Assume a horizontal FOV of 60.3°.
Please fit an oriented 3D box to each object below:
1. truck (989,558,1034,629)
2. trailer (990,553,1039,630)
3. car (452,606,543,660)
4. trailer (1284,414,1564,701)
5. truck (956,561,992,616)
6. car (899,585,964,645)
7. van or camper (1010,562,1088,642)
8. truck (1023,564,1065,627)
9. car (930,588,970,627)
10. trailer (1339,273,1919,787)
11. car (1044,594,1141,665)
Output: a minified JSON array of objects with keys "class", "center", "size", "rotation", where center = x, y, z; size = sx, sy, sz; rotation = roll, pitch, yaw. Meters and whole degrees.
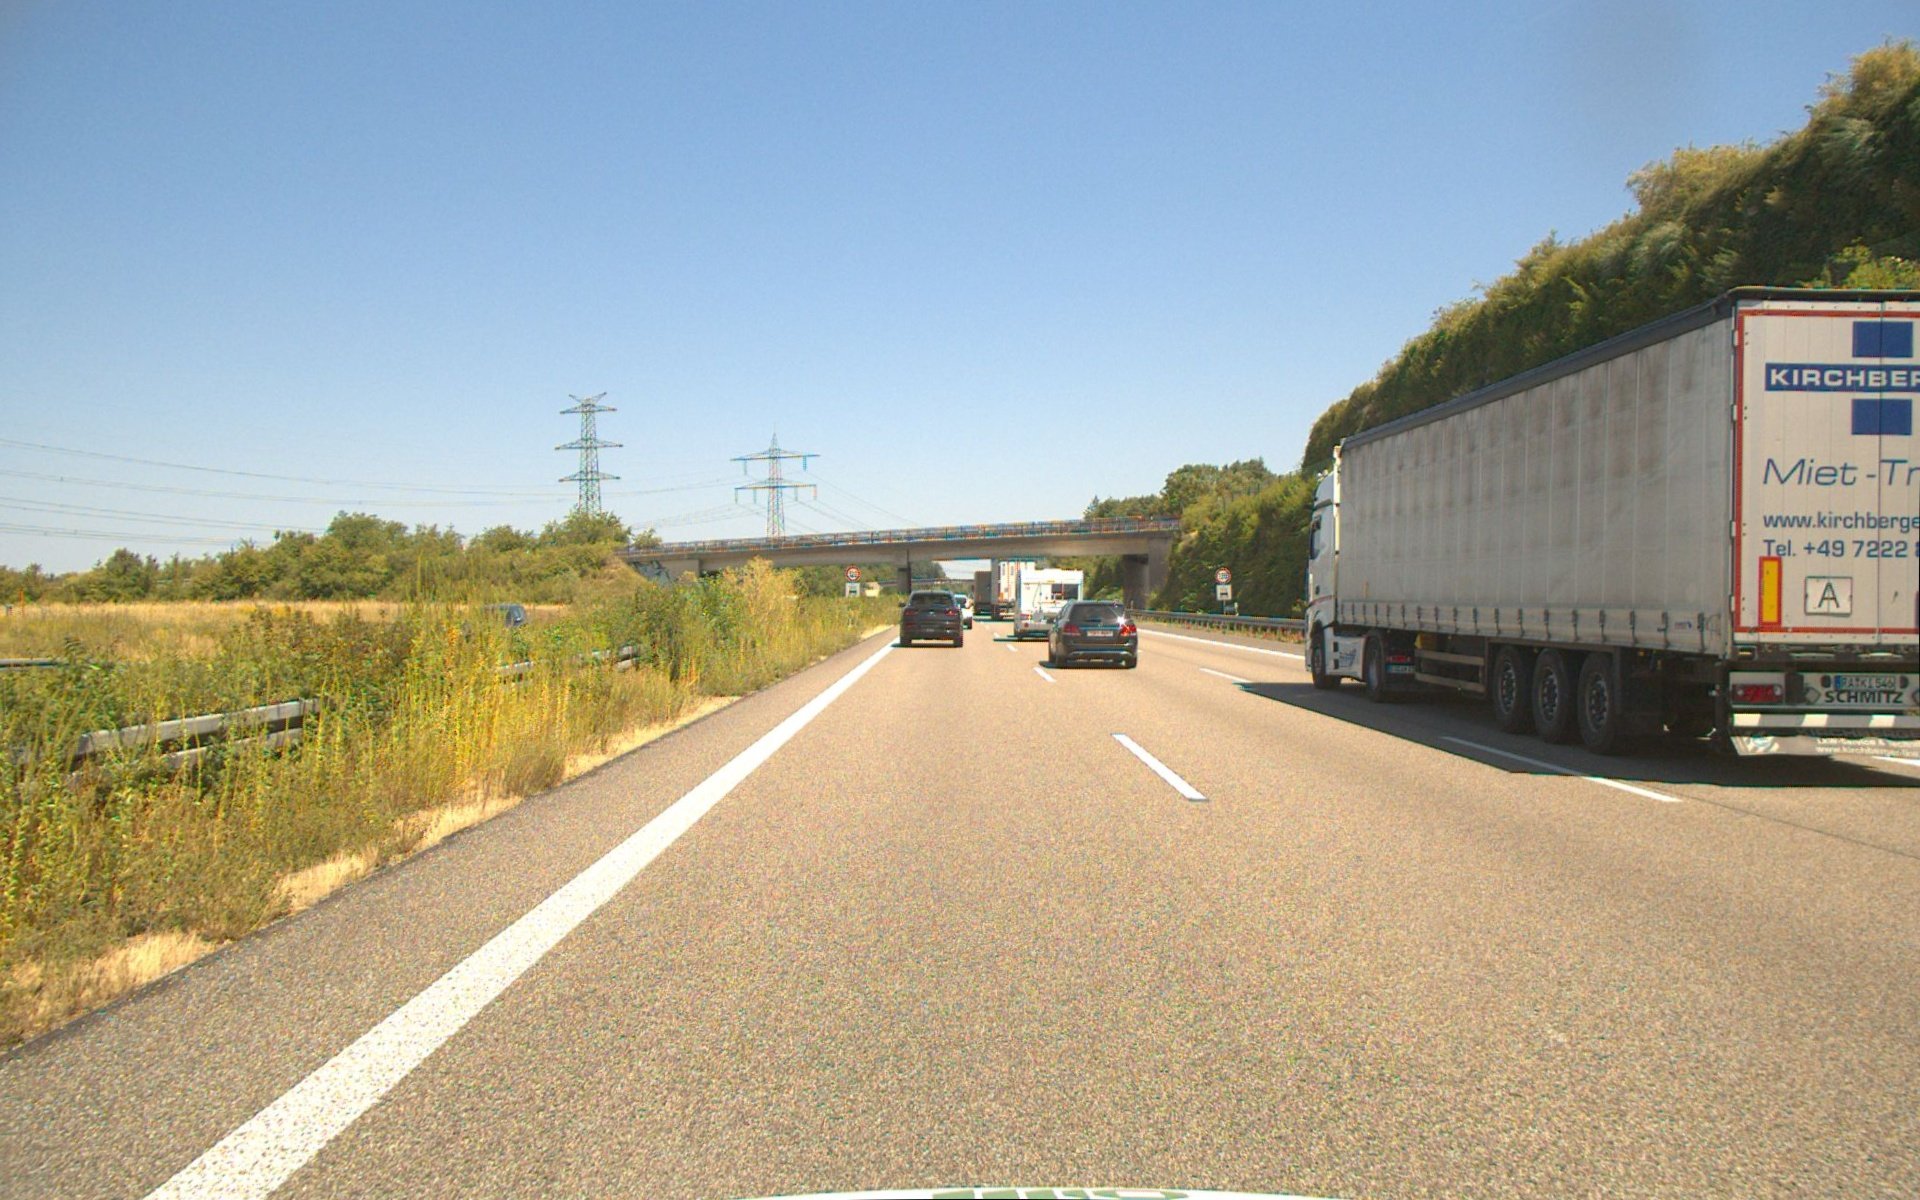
[{"class":"truck","center":[3.721,-0.454,121.044],"size":[3.023,4.970,6.597],"rotation":[1,0,0]},{"class":"trailer","center":[3.676,-0.494,114.145],"size":[3.023,4.970,12.257],"rotation":[1,0,0]},{"class":"car","center":[-15.470,1.076,55.510],"size":[1.824,1.683,4.558],"rotation":[0,0,-1]},{"class":"trailer","center":[7.430,-0.619,27.510],"size":[2.658,4.174,6.788],"rotation":[0,0,-1]},{"class":"truck","center":[1.343,-1.130,163.654],"size":[3.440,5.257,10.258],"rotation":[0,0,0]},{"class":"car","center":[-0.880,0.441,51.762],"size":[1.953,1.803,3.999],"rotation":[-1,0,-1]},{"class":"van or camper","center":[3.166,0.054,60.340],"size":[2.389,2.721,6.348],"rotation":[-1,0,-1]},{"class":"truck","center":[6.843,-0.309,136.236],"size":[3.023,4.970,8.797],"rotation":[1,0,0]},{"class":"car","center":[-0.507,0.364,82.840],"size":[1.922,1.846,4.448],"rotation":[-1,0,-1]},{"class":"trailer","center":[7.535,-0.576,20.057],"size":[2.673,4.174,13.187],"rotation":[0,0,-1]},{"class":"car","center":[2.981,0.629,38.127],"size":[1.804,1.532,4.737],"rotation":[0,0,-1]}]
